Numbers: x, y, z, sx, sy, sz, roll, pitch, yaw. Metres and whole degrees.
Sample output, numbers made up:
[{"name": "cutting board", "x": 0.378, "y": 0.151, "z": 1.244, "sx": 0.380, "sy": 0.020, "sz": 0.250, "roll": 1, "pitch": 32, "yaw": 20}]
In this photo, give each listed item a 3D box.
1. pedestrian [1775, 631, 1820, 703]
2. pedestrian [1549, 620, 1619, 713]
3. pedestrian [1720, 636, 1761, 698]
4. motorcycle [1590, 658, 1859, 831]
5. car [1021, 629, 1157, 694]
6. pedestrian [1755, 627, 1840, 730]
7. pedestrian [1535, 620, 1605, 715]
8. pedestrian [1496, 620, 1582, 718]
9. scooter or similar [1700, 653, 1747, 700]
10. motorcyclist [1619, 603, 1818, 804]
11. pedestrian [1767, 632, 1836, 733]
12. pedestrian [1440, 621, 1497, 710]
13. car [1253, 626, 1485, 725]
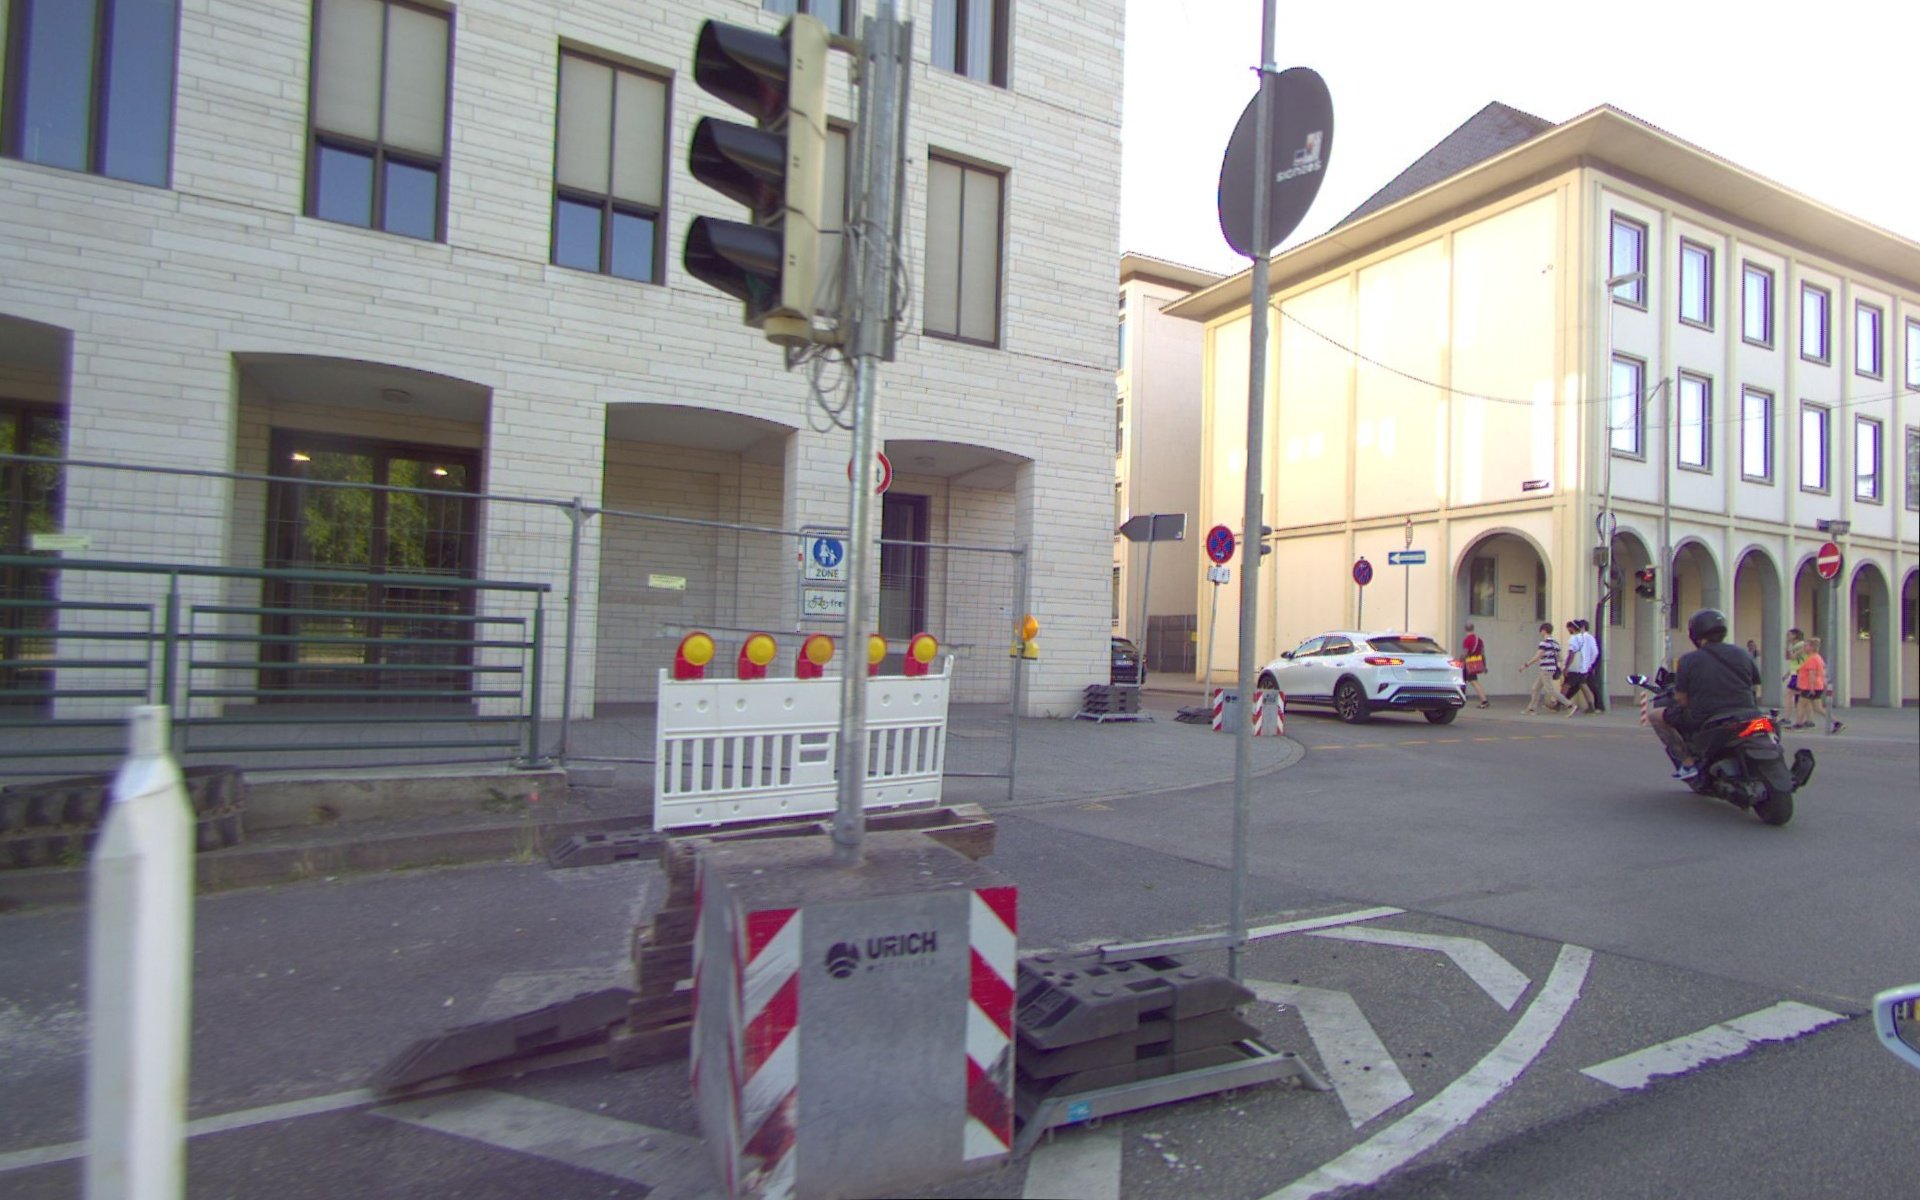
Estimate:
[{"name": "pedestrian", "x": 22.278, "y": 1.771, "z": 26.725, "sx": 0.717, "sy": 1.865, "sz": 0.639, "roll": -1, "pitch": 0, "yaw": -23}, {"name": "pedestrian", "x": 12.454, "y": 1.301, "z": 20.049, "sx": 0.702, "sy": 1.801, "sz": 0.935, "roll": -1, "pitch": -1, "yaw": -27}, {"name": "pedestrian", "x": 21.388, "y": 1.821, "z": 27.523, "sx": 0.717, "sy": 1.646, "sz": 0.616, "roll": -1, "pitch": 0, "yaw": -23}, {"name": "motorcycle", "x": 6.469, "y": 1.135, "z": 8.741, "sx": 0.890, "sy": 1.199, "sz": 2.580, "roll": 0, "pitch": -2, "yaw": 13}, {"name": "car", "x": 3.273, "y": 1.555, "z": 26.324, "sx": 1.754, "sy": 1.570, "sz": 4.085, "roll": 2, "pitch": -2, "yaw": -22}, {"name": "pedestrian", "x": 14.751, "y": 1.356, "z": 17.704, "sx": 0.666, "sy": 1.732, "sz": 0.961, "roll": -1, "pitch": 0, "yaw": -27}, {"name": "pedestrian", "x": 11.977, "y": 1.302, "z": 19.737, "sx": 0.702, "sy": 1.801, "sz": 0.935, "roll": -1, "pitch": -1, "yaw": -27}, {"name": "pedestrian", "x": 11.306, "y": 1.312, "z": 19.644, "sx": 0.707, "sy": 1.826, "sz": 1.239, "roll": -1, "pitch": -1, "yaw": -27}, {"name": "scooter or similar", "x": 20.641, "y": 2.059, "z": 27.157, "sx": 0.944, "sy": 1.173, "sz": 0.616, "roll": -1, "pitch": 0, "yaw": -24}, {"name": "motorcyclist", "x": 6.464, "y": 0.838, "z": 8.653, "sx": 0.938, "sy": 1.580, "sz": 1.240, "roll": 0, "pitch": -2, "yaw": 14}, {"name": "pedestrian", "x": 14.383, "y": 1.389, "z": 17.179, "sx": 0.612, "sy": 1.646, "sz": 0.722, "roll": -1, "pitch": 0, "yaw": -27}, {"name": "pedestrian", "x": 10.784, "y": 1.361, "z": 21.313, "sx": 0.702, "sy": 1.826, "sz": 0.770, "roll": -1, "pitch": -1, "yaw": -27}, {"name": "car", "x": 6.827, "y": 1.242, "z": 17.266, "sx": 1.832, "sy": 1.491, "sz": 3.993, "roll": 1, "pitch": -2, "yaw": -11}]
